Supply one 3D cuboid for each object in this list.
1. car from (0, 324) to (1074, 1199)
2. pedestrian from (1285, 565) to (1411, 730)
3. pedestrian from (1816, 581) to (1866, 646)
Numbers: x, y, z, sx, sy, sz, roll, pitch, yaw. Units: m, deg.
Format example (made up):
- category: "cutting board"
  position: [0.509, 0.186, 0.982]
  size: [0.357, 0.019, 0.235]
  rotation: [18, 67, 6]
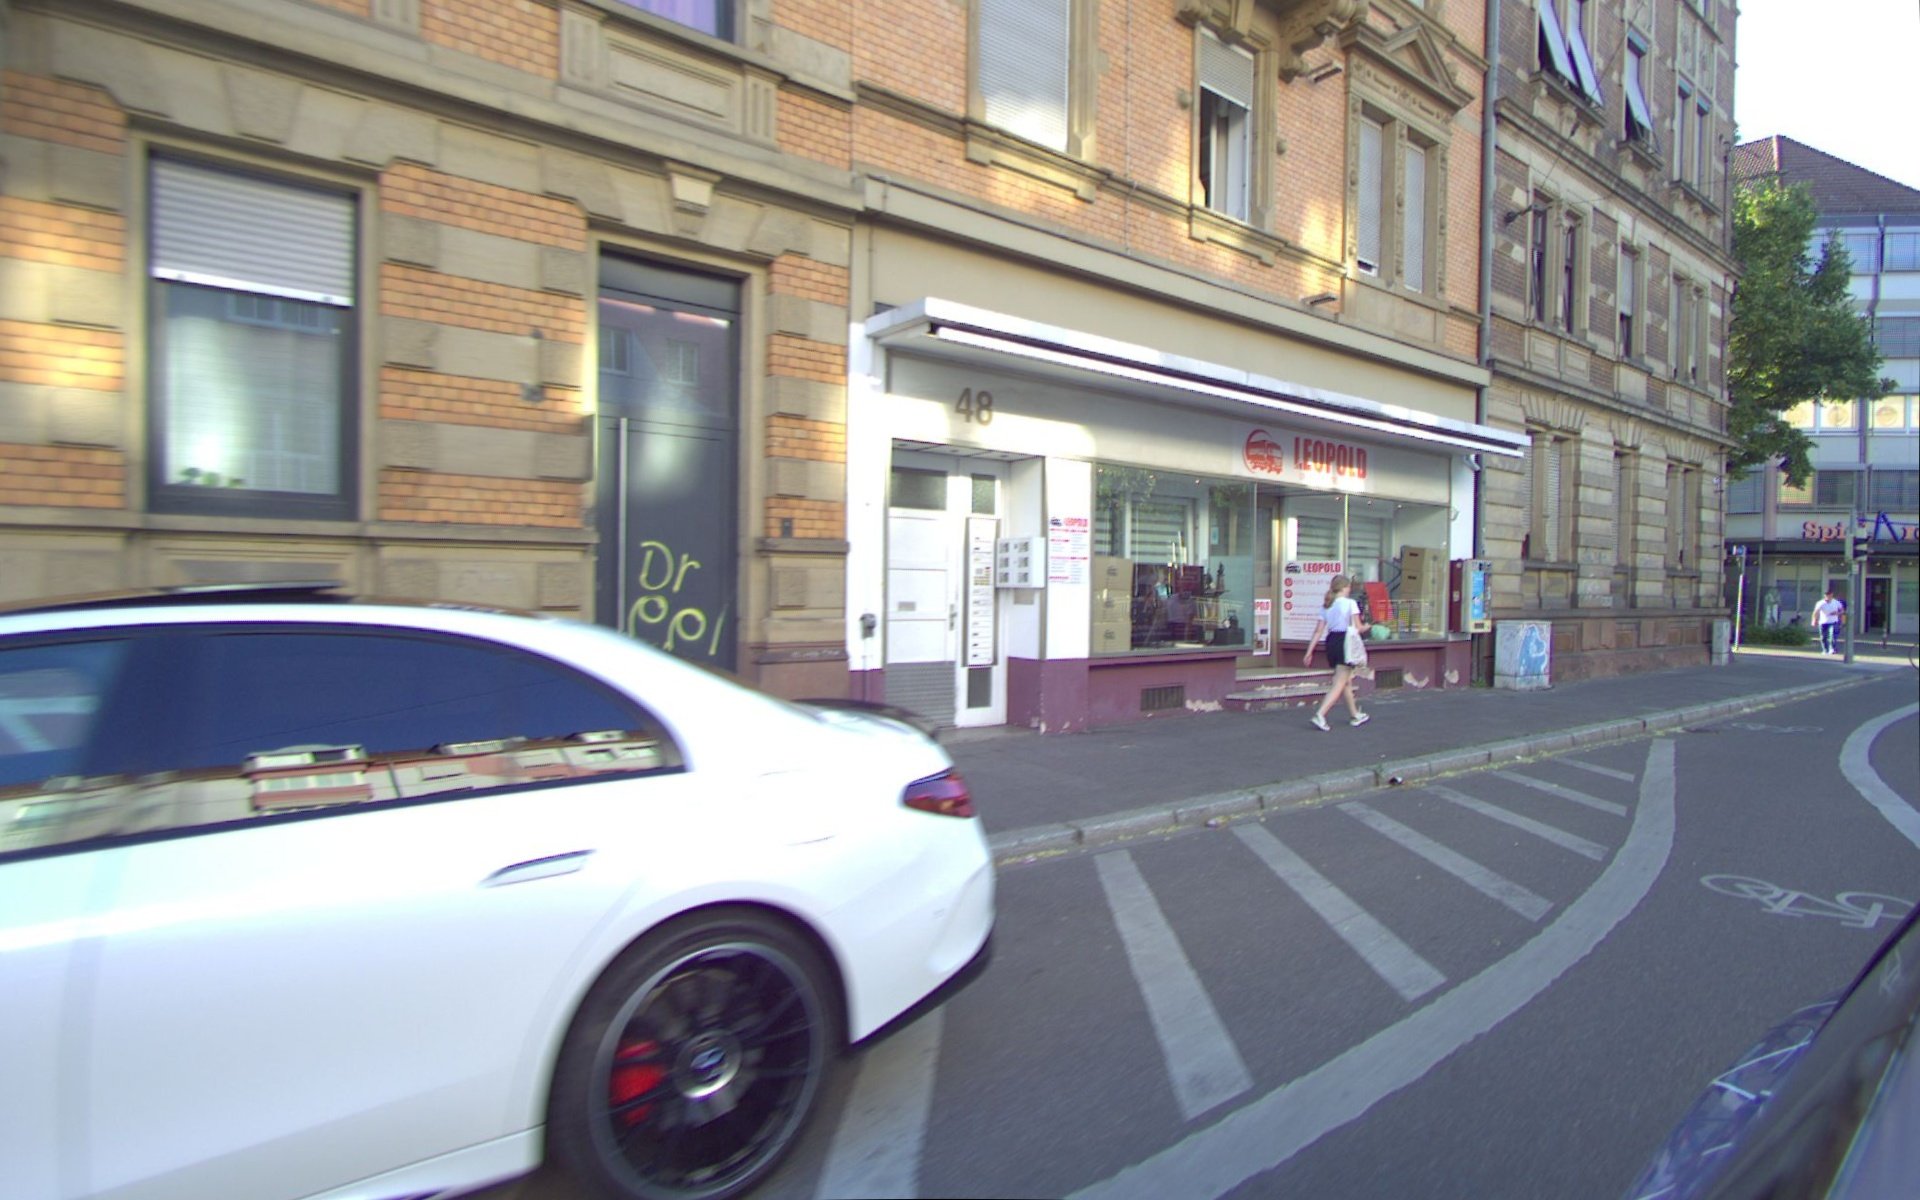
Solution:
- category: "car"
  position: [-2.163, 0.460, 2.394]
  size: [4.785, 1.794, 1.972]
  rotation: [-1, 0, -37]
- category: "pedestrian"
  position: [4.009, 0.453, 10.469]
  size: [0.896, 1.586, 0.779]
  rotation: [0, 3, -35]
- category: "pedestrian"
  position: [23.366, 0.356, 26.835]
  size: [1.014, 1.687, 0.786]
  rotation: [2, -1, -37]
